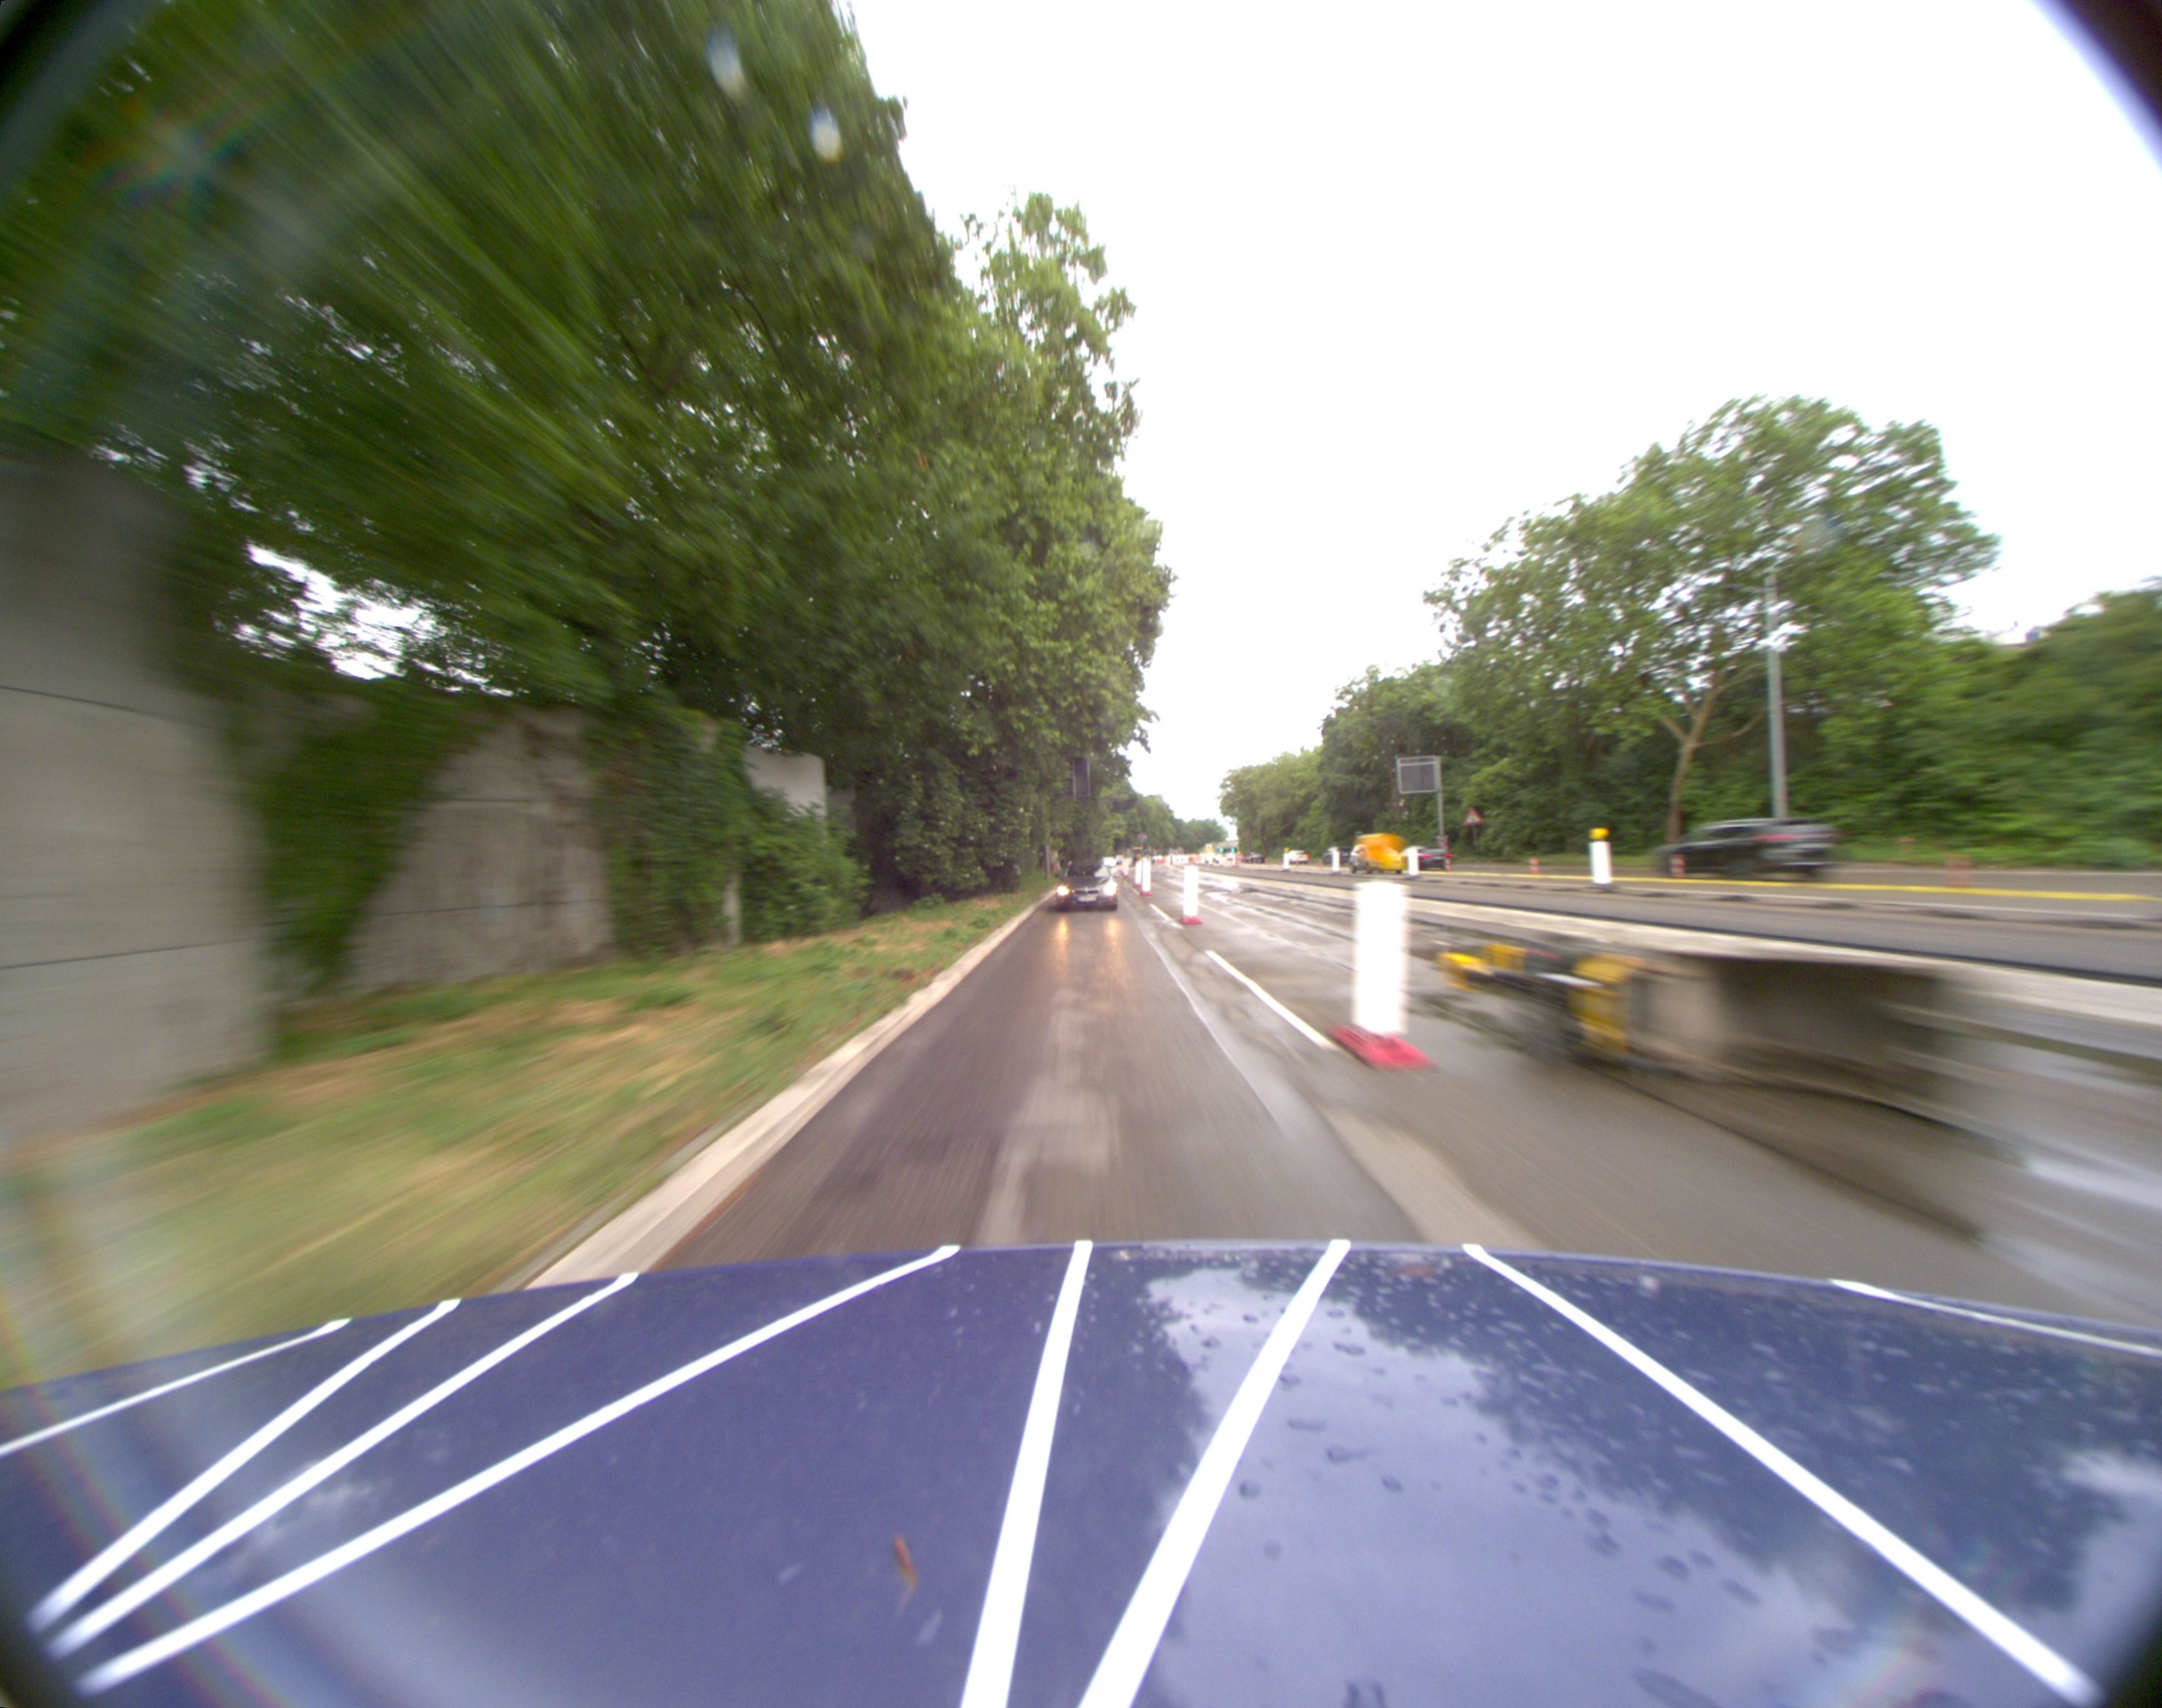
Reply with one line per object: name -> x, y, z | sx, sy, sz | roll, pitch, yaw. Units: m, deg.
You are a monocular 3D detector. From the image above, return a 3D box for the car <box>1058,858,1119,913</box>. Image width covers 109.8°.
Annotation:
car -> 0.220, 0.892, 23.397 | 1.701, 1.477, 4.000 | -1, 0, 0

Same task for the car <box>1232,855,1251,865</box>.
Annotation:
car -> 22.924, 0.856, 108.862 | 1.822, 1.347, 4.390 | -1, 0, 1

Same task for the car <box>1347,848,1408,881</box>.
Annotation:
car -> 15.734, 0.544, 40.498 | 1.794, 1.574, 3.861 | -3, 0, 2

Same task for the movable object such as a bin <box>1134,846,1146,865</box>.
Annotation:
movable object such as a bin -> 9.485, 0.232, 121.851 | 1.807, 2.968, 5.248 | -2, 0, 6

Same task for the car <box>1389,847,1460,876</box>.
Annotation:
car -> 19.359, 0.440, 43.048 | 1.765, 1.475, 4.900 | -2, 0, 0

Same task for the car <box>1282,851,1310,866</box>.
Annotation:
car -> 23.700, 0.501, 83.915 | 1.822, 1.411, 4.603 | -3, 0, 1

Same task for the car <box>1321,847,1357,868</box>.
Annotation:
car -> 22.736, 0.323, 67.109 | 1.657, 1.675, 4.533 | -3, 0, 1

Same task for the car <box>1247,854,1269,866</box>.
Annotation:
car -> 22.016, 0.730, 94.490 | 1.822, 1.347, 4.205 | -1, 0, 1

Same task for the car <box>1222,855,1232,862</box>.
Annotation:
car -> 35.733, 1.147, 186.064 | 1.781, 1.740, 4.381 | -2, 0, 2

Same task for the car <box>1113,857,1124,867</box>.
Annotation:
car -> 6.690, 1.369, 136.452 | 1.707, 1.681, 4.473 | -1, 0, 5

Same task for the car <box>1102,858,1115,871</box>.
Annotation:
car -> 3.841, 1.380, 105.272 | 1.707, 1.681, 4.473 | -1, 0, 3

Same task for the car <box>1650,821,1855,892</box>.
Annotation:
car -> 18.534, 0.073, 21.312 | 1.739, 1.712, 4.494 | -3, 0, 1
